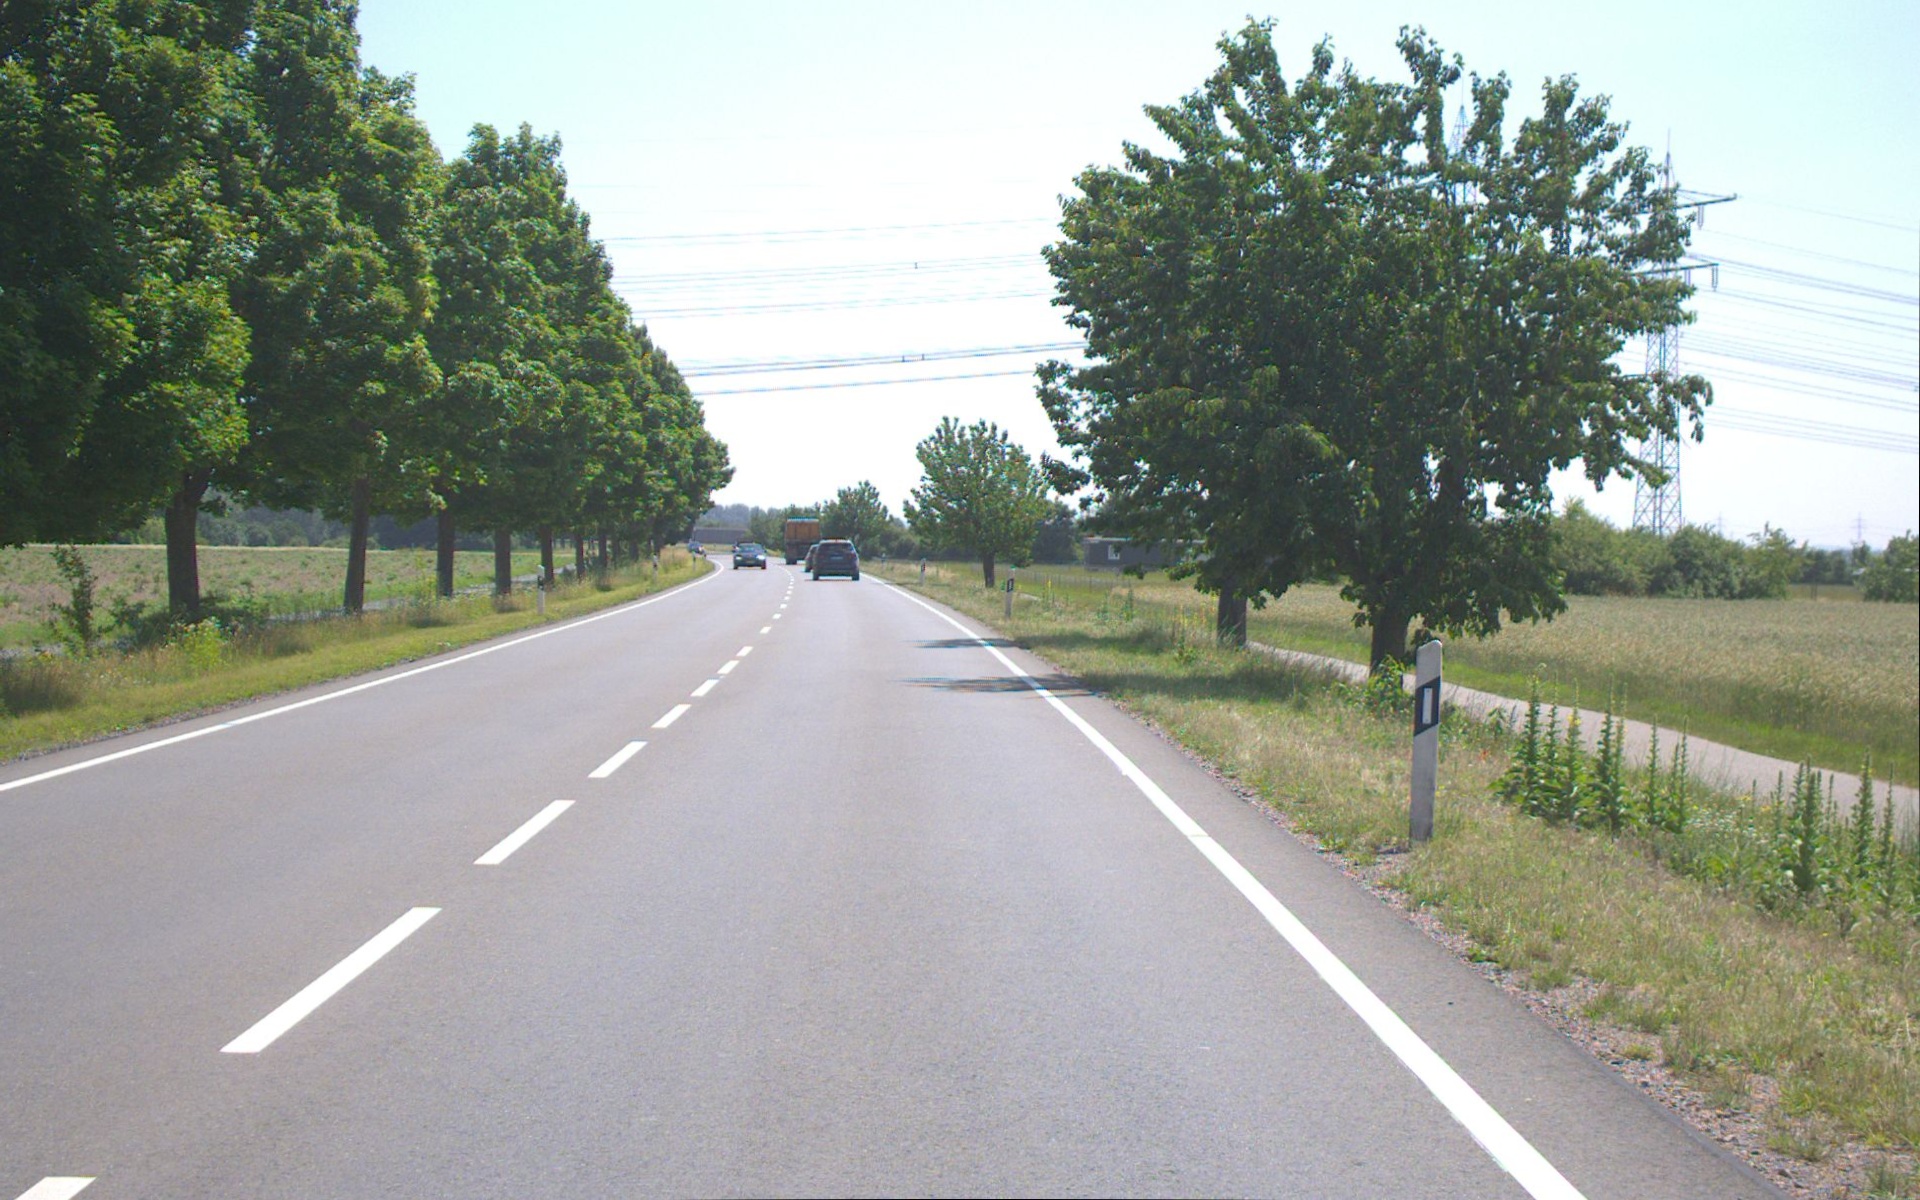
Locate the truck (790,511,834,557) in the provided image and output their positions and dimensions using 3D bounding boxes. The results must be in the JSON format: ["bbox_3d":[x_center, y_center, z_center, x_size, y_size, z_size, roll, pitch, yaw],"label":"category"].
[{"bbox_3d":[-10.418,-4.653,241.339,2.370,3.129,8.750,1,1,-7],"label":"truck"}]

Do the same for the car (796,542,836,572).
[{"bbox_3d":[-7.619,-2.259,181.346,1.850,1.517,4.001,0,1,-6],"label":"car"}]

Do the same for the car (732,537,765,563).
[{"bbox_3d":[-12.204,-2.895,198.598,1.822,1.415,4.590,0,1,-3],"label":"car"}]

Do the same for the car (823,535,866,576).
[{"bbox_3d":[-4.796,-1.846,142.485,1.714,1.688,3.989,0,1,-3],"label":"car"}]
